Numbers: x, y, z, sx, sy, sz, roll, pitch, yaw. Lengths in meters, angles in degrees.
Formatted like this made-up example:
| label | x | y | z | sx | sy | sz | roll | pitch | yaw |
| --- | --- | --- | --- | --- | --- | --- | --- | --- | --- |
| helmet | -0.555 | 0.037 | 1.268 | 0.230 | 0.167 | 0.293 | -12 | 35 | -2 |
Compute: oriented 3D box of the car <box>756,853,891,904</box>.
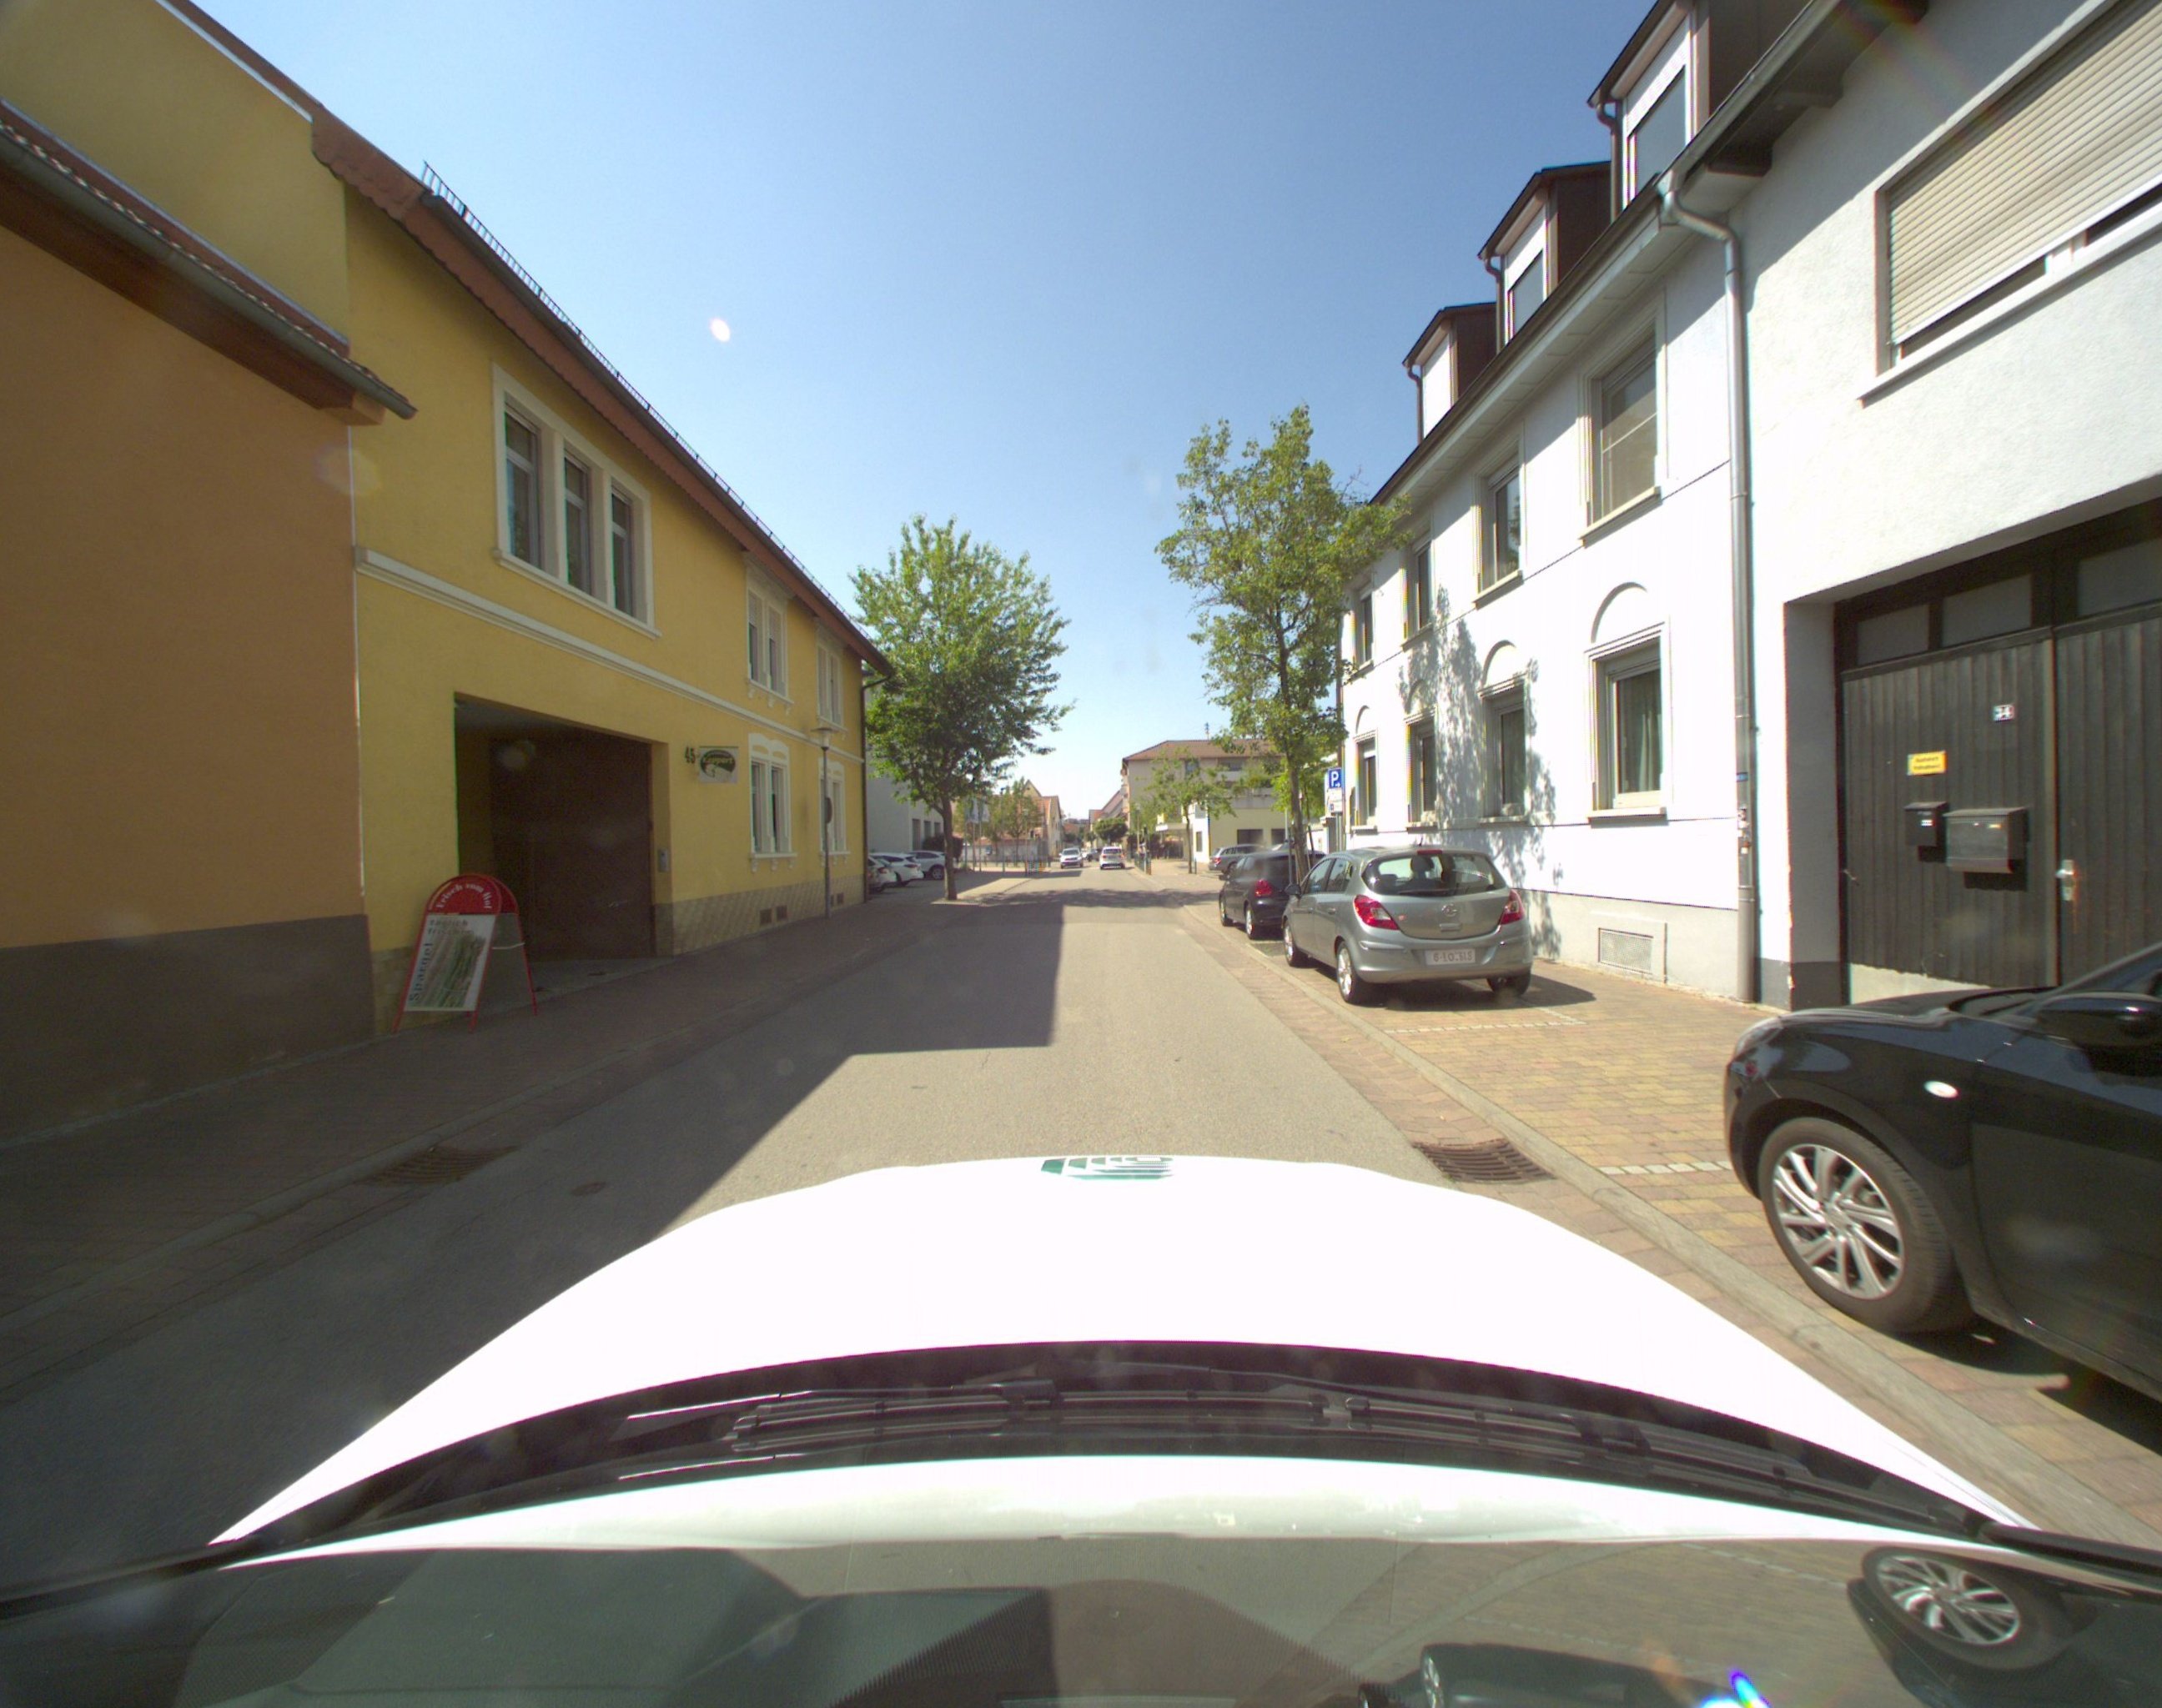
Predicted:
| label | x | y | z | sx | sy | sz | roll | pitch | yaw |
| --- | --- | --- | --- | --- | --- | --- | --- | --- | --- |
| car | -8.735 | 0.802 | 27.920 | 3.978 | 1.431 | 1.970 | -3 | 2 | -4 |

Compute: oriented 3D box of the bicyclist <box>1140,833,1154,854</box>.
| label | x | y | z | sx | sy | sz | roll | pitch | yaw |
| --- | --- | --- | --- | --- | --- | --- | --- | --- | --- |
| bicyclist | 5.530 | -0.867 | 67.906 | 0.764 | 1.664 | 0.664 | -7 | 2 | -30 |

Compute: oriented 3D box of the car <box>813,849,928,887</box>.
| label | x | y | z | sx | sy | sz | roll | pitch | yaw |
| --- | --- | --- | --- | --- | --- | --- | --- | --- | --- |
| car | -9.104 | 0.596 | 35.476 | 4.488 | 1.554 | 1.935 | 0 | 0 | 0 |

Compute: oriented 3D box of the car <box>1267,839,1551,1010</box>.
| label | x | y | z | sx | sy | sz | roll | pitch | yaw |
| --- | --- | --- | --- | --- | --- | --- | --- | --- | --- |
| car | 3.383 | 0.616 | 9.289 | 1.710 | 1.481 | 4.098 | -1 | 0 | 2 |

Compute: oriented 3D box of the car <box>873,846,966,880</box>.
| label | x | y | z | sx | sy | sz | roll | pitch | yaw |
| --- | --- | --- | --- | --- | --- | --- | --- | --- | --- |
| car | -8.618 | 0.481 | 43.845 | 4.493 | 1.554 | 2.147 | -3 | 1 | -1 |

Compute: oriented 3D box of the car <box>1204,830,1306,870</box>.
| label | x | y | z | sx | sy | sz | roll | pitch | yaw |
| --- | --- | --- | --- | --- | --- | --- | --- | --- | --- |
| car | 8.665 | -0.212 | 40.767 | 4.569 | 1.512 | 1.913 | -6 | 1 | -5 |

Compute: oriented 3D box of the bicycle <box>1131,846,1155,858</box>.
| label | x | y | z | sx | sy | sz | roll | pitch | yaw |
| --- | --- | --- | --- | --- | --- | --- | --- | --- | --- |
| bicycle | 5.053 | -0.152 | 66.401 | 1.899 | 0.958 | 0.670 | -1 | 0 | -25 |

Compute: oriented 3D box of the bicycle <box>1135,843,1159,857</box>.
| label | x | y | z | sx | sy | sz | roll | pitch | yaw |
| --- | --- | --- | --- | --- | --- | --- | --- | --- | --- |
| bicycle | 5.477 | -0.336 | 67.861 | 1.902 | 0.957 | 0.669 | -7 | 2 | -30 |

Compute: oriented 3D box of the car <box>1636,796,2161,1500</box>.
| label | x | y | z | sx | sy | sz | roll | pitch | yaw |
| --- | --- | --- | --- | --- | --- | --- | --- | --- | --- |
| car | 3.184 | 0.619 | 1.541 | 1.731 | 1.513 | 3.736 | -3 | 1 | 1 |

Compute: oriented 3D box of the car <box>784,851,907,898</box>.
| label | x | y | z | sx | sy | sz | roll | pitch | yaw |
| --- | --- | --- | --- | --- | --- | --- | --- | --- | --- |
| car | -8.729 | 0.740 | 30.422 | 3.975 | 1.451 | 1.807 | -3 | 2 | -1 |

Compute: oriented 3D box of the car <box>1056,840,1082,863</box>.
| label | x | y | z | sx | sy | sz | roll | pitch | yaw |
| --- | --- | --- | --- | --- | --- | --- | --- | --- | --- |
| car | -0.905 | -0.224 | 65.732 | 1.845 | 1.573 | 4.001 | -4 | 1 | 1 |

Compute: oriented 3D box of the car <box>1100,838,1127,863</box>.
| label | x | y | z | sx | sy | sz | roll | pitch | yaw |
| --- | --- | --- | --- | --- | --- | --- | --- | --- | --- |
| car | 2.349 | -0.271 | 59.141 | 1.827 | 1.651 | 4.002 | -2 | 1 | 2 |

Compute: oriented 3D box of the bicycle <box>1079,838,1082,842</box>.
| label | x | y | z | sx | sy | sz | roll | pitch | yaw |
| --- | --- | --- | --- | --- | --- | --- | --- | --- | --- |
| bicycle | -0.124 | -3.255 | 189.457 | 0.662 | 1.006 | 1.897 | -3 | 1 | -1 |

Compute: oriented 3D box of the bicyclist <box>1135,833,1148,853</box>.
| label | x | y | z | sx | sy | sz | roll | pitch | yaw |
| --- | --- | --- | --- | --- | --- | --- | --- | --- | --- |
| bicyclist | 4.937 | -0.922 | 66.357 | 0.763 | 1.581 | 0.665 | -1 | 0 | -25 |

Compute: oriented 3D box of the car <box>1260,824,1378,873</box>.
| label | x | y | z | sx | sy | sz | roll | pitch | yaw |
| --- | --- | --- | --- | --- | --- | --- | --- | --- | --- |
| car | 8.732 | -0.214 | 30.012 | 3.724 | 1.452 | 1.742 | -5 | 1 | -5 |

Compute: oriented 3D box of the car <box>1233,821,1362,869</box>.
| label | x | y | z | sx | sy | sz | roll | pitch | yaw |
| --- | --- | --- | --- | --- | --- | --- | --- | --- | --- |
| car | 8.580 | -0.373 | 32.499 | 4.529 | 1.440 | 1.836 | -6 | 1 | -5 |

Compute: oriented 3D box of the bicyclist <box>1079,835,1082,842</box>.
| label | x | y | z | sx | sy | sz | roll | pitch | yaw |
| --- | --- | --- | --- | --- | --- | --- | --- | --- | --- |
| bicyclist | -0.126 | -3.584 | 189.421 | 0.671 | 1.482 | 0.770 | -3 | 1 | -1 |

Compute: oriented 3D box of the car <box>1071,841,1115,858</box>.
| label | x | y | z | sx | sy | sz | roll | pitch | yaw |
| --- | --- | --- | --- | --- | --- | --- | --- | --- | --- |
| car | 1.269 | -0.457 | 85.685 | 4.462 | 1.464 | 1.864 | -5 | 2 | -43 |

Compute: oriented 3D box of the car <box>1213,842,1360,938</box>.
| label | x | y | z | sx | sy | sz | roll | pitch | yaw |
| --- | --- | --- | --- | --- | --- | --- | --- | --- | --- |
| car | 3.553 | 0.569 | 14.782 | 1.698 | 1.481 | 3.921 | -1 | 0 | 0 |

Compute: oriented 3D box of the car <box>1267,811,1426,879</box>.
| label | x | y | z | sx | sy | sz | roll | pitch | yaw |
| --- | --- | --- | --- | --- | --- | --- | --- | --- | --- |
| car | 8.918 | -0.328 | 27.672 | 4.615 | 1.770 | 2.148 | -6 | 1 | 0 |
